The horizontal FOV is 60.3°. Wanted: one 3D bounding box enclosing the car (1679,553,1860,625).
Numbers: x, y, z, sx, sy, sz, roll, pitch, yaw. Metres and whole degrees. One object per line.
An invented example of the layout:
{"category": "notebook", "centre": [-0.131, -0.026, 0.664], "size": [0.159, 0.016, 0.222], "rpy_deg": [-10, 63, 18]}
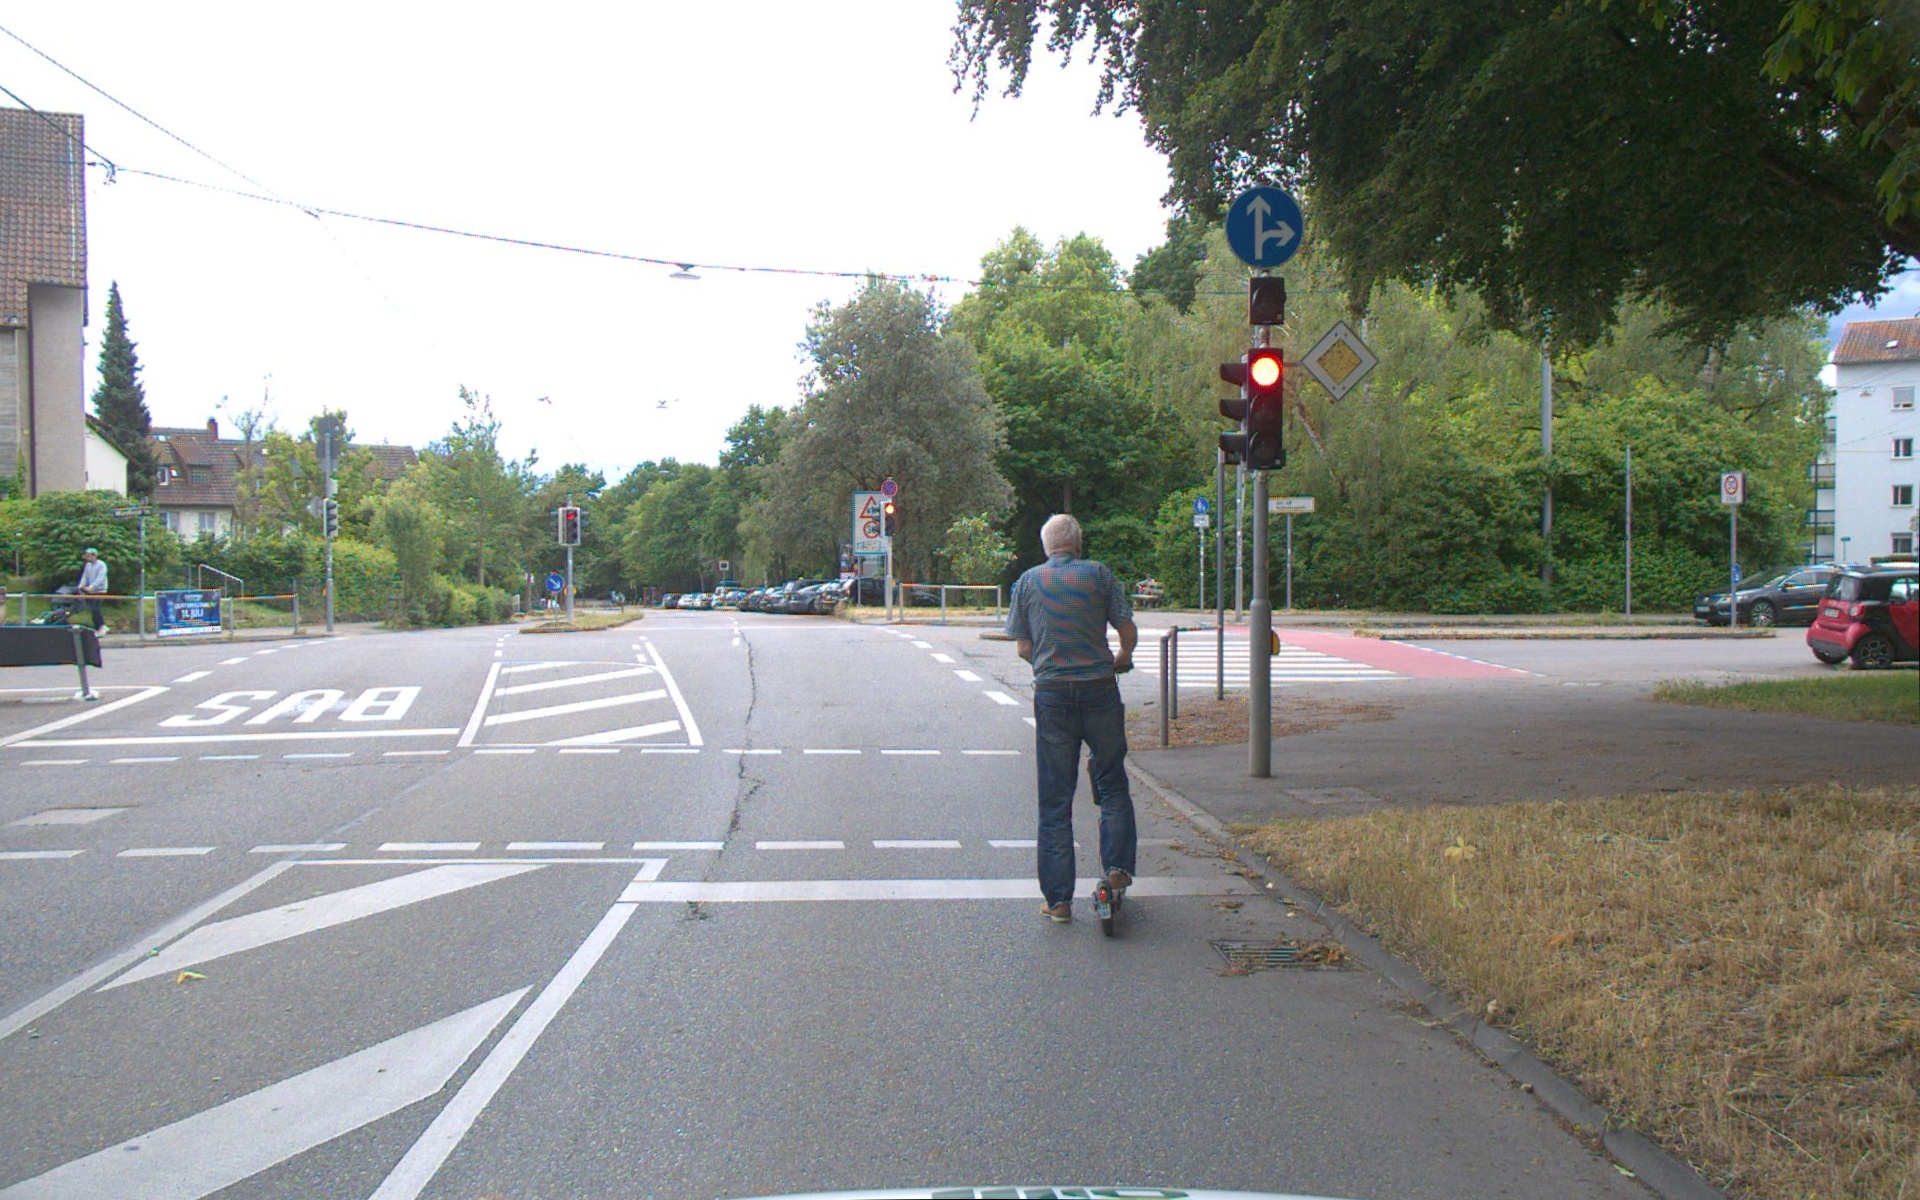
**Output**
{"category": "car", "centre": [19.149, -0.265, 39.229], "size": [3.444, 1.557, 1.729], "rpy_deg": [-2, 1, 5]}

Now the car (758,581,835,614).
{"category": "car", "centre": [-8.805, -0.141, 88.919], "size": [3.790, 1.639, 1.716], "rpy_deg": [-2, 1, -24]}

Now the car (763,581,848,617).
{"category": "car", "centre": [-7.577, -0.065, 81.211], "size": [3.790, 1.639, 1.716], "rpy_deg": [-2, 1, -24]}

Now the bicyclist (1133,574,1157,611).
{"category": "bicyclist", "centre": [6.375, -0.267, 57.022], "size": [0.669, 1.270, 0.489], "rpy_deg": [2, 0, -30]}

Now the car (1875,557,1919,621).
{"category": "car", "centre": [26.401, -0.338, 45.808], "size": [1.689, 1.639, 3.850], "rpy_deg": [-1, 1, 27]}

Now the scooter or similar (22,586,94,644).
{"category": "scooter or similar", "centre": [-17.634, 0.295, 32.351], "size": [0.564, 1.100, 1.111], "rpy_deg": [-1, 1, 24]}

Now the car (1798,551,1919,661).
{"category": "car", "centre": [15.251, 0.045, 25.827], "size": [3.444, 1.639, 1.729], "rpy_deg": [-2, 1, 4]}

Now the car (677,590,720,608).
{"category": "car", "centre": [-25.050, -0.084, 158.383], "size": [3.790, 1.639, 1.716], "rpy_deg": [-2, 1, -24]}

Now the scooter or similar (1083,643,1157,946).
{"category": "scooter or similar", "centre": [0.727, 0.815, 7.385], "size": [0.276, 1.199, 1.178], "rpy_deg": [-1, 1, 7]}

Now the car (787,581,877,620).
{"category": "car", "centre": [-5.932, 0.008, 76.660], "size": [3.792, 1.639, 1.715], "rpy_deg": [-2, 1, -25]}

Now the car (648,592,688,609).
{"category": "car", "centre": [-30.922, 0.019, 175.154], "size": [3.790, 1.639, 1.716], "rpy_deg": [-2, 1, -24]}

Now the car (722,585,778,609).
{"category": "car", "centre": [-15.438, -0.222, 121.650], "size": [3.790, 1.639, 1.716], "rpy_deg": [-2, 1, -24]}

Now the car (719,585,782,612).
{"category": "car", "centre": [-13.782, -0.085, 108.706], "size": [3.790, 1.639, 1.716], "rpy_deg": [-2, 1, -24]}

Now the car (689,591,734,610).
{"category": "car", "centre": [-23.060, 0.016, 153.710], "size": [3.790, 1.639, 1.716], "rpy_deg": [-2, 1, -24]}

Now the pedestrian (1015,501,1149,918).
{"category": "pedestrian", "centre": [0.566, 0.484, 7.558], "size": [0.560, 1.845, 0.421], "rpy_deg": [-1, 0, 7]}

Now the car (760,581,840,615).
{"category": "car", "centre": [-8.366, -0.128, 86.513], "size": [3.790, 1.639, 1.716], "rpy_deg": [-2, 1, -24]}

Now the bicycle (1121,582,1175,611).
{"category": "bicycle", "centre": [6.500, -0.116, 57.100], "size": [1.899, 0.975, 0.489], "rpy_deg": [2, 0, -30]}

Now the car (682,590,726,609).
{"category": "car", "centre": [-24.119, -0.057, 155.827], "size": [3.790, 1.639, 1.716], "rpy_deg": [-2, 1, -24]}

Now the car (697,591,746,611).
{"category": "car", "centre": [-20.552, 0.091, 142.443], "size": [3.790, 1.639, 1.716], "rpy_deg": [-2, 1, -24]}

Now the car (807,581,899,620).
{"category": "car", "centre": [-4.848, 0.014, 74.706], "size": [3.787, 1.639, 1.717], "rpy_deg": [-2, 1, -22]}

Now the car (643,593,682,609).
{"category": "car", "centre": [-31.931, 0.078, 177.476], "size": [3.790, 1.639, 1.716], "rpy_deg": [-2, 1, -24]}

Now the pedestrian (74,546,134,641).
{"category": "pedestrian", "centre": [-17.211, -0.134, 33.253], "size": [0.561, 1.895, 0.886], "rpy_deg": [-1, 1, 26]}

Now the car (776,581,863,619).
{"category": "car", "centre": [-6.726, -0.011, 79.189], "size": [3.790, 1.639, 1.716], "rpy_deg": [-2, 1, -24]}

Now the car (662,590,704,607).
{"category": "car", "centre": [-27.689, -0.162, 165.410], "size": [3.790, 1.639, 1.716], "rpy_deg": [-2, 1, -24]}

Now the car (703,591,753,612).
{"category": "car", "centre": [-19.458, 0.123, 138.785], "size": [3.790, 1.639, 1.716], "rpy_deg": [-2, 1, -24]}
